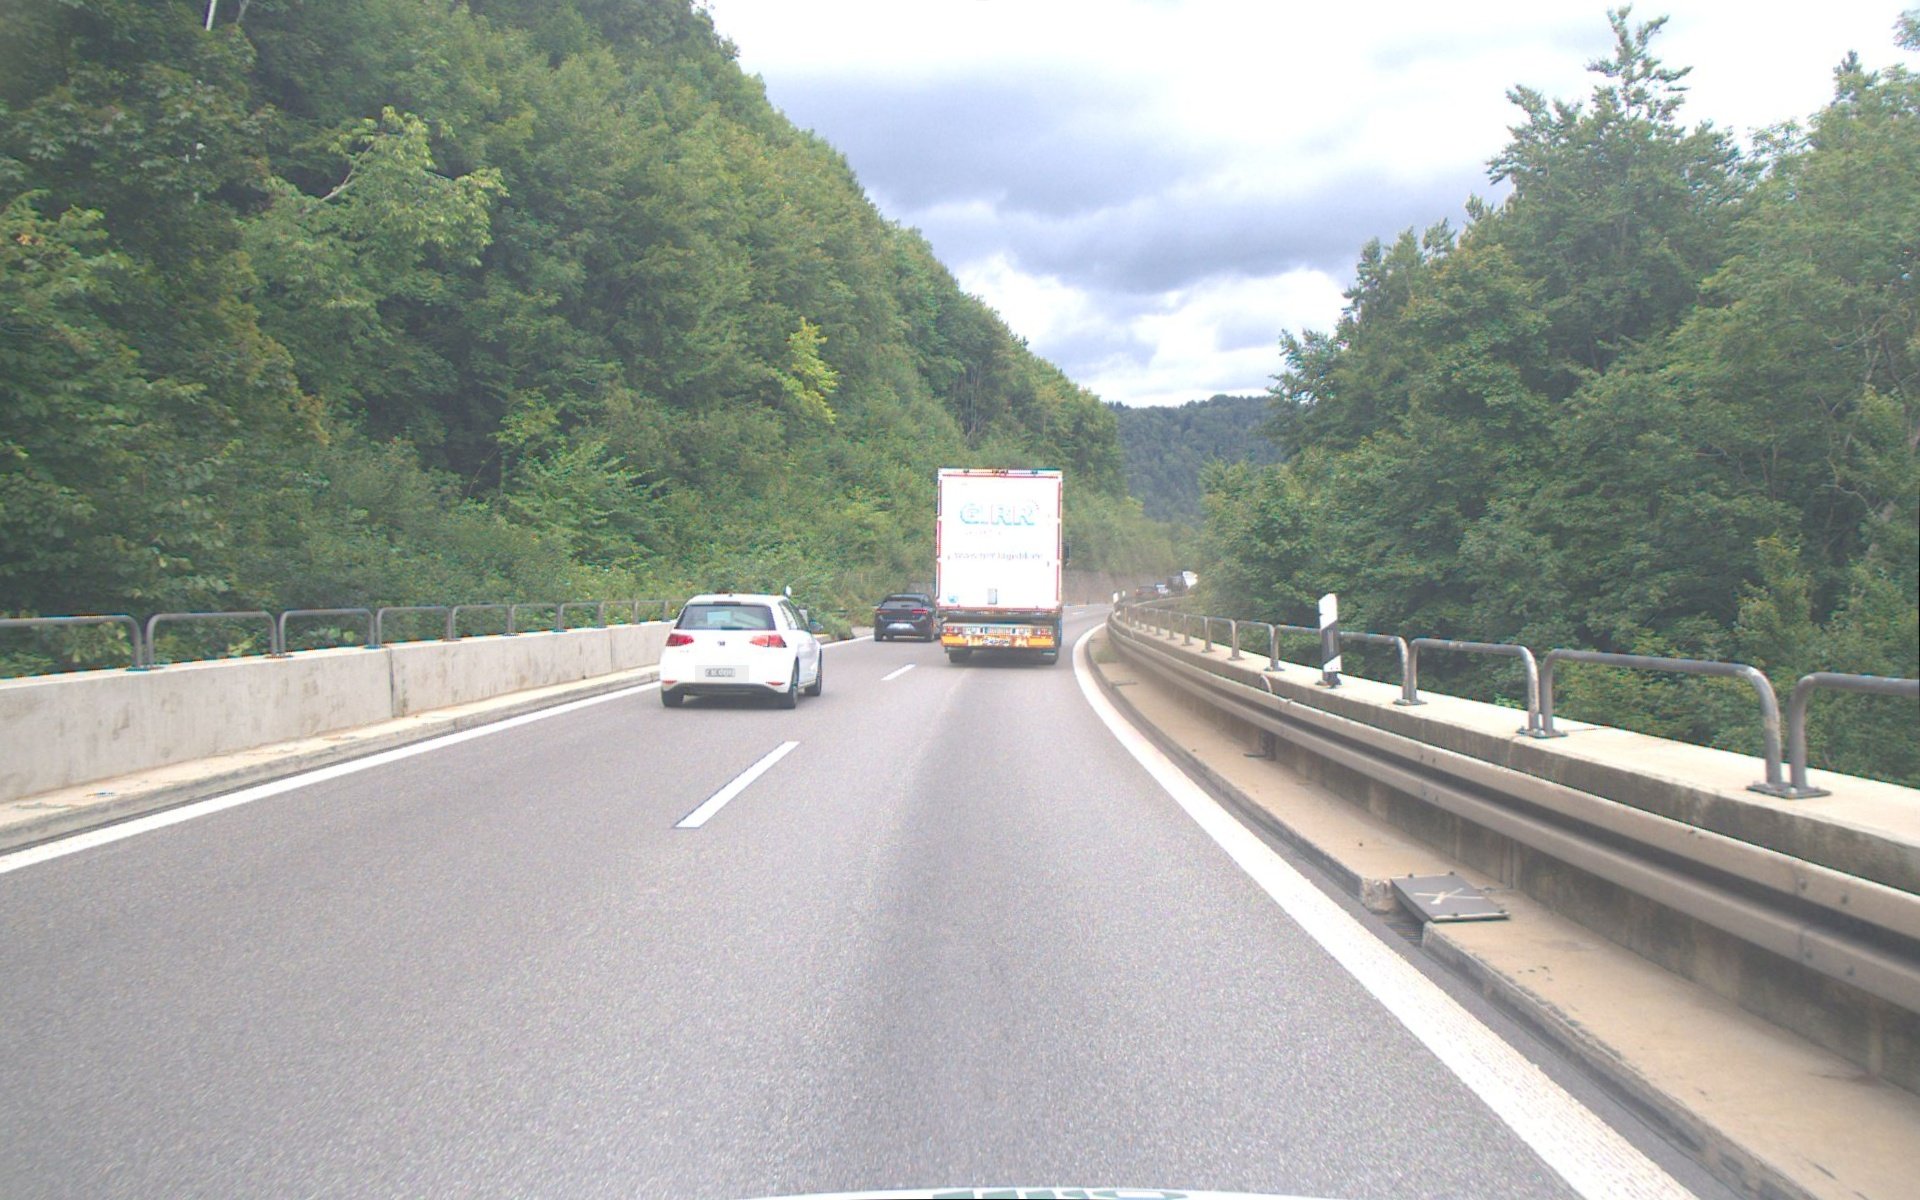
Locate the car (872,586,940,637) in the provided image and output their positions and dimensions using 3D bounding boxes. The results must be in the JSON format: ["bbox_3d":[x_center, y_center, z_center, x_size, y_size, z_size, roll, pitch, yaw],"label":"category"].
[{"bbox_3d":[-1.612,0.351,50.847,1.736,1.486,4.583,0,0,2],"label":"car"}]

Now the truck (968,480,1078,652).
[{"bbox_3d":[1.837,-0.843,45.550,2.754,4.378,6.262,-1,-1,4],"label":"truck"}]

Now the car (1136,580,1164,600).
[{"bbox_3d":[16.180,-0.812,140.952,1.951,1.593,4.003,-1,-1,12],"label":"car"}]

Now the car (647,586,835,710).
[{"bbox_3d":[-2.851,0.577,22.536,1.806,1.507,4.629,0,0,2],"label":"car"}]

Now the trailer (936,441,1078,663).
[{"bbox_3d":[1.362,-0.903,39.077,2.754,4.378,12.250,-1,-1,4],"label":"trailer"}]

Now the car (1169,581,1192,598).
[{"bbox_3d":[24.572,-1.123,184.313,1.951,1.814,4.003,1,0,15],"label":"car"}]
